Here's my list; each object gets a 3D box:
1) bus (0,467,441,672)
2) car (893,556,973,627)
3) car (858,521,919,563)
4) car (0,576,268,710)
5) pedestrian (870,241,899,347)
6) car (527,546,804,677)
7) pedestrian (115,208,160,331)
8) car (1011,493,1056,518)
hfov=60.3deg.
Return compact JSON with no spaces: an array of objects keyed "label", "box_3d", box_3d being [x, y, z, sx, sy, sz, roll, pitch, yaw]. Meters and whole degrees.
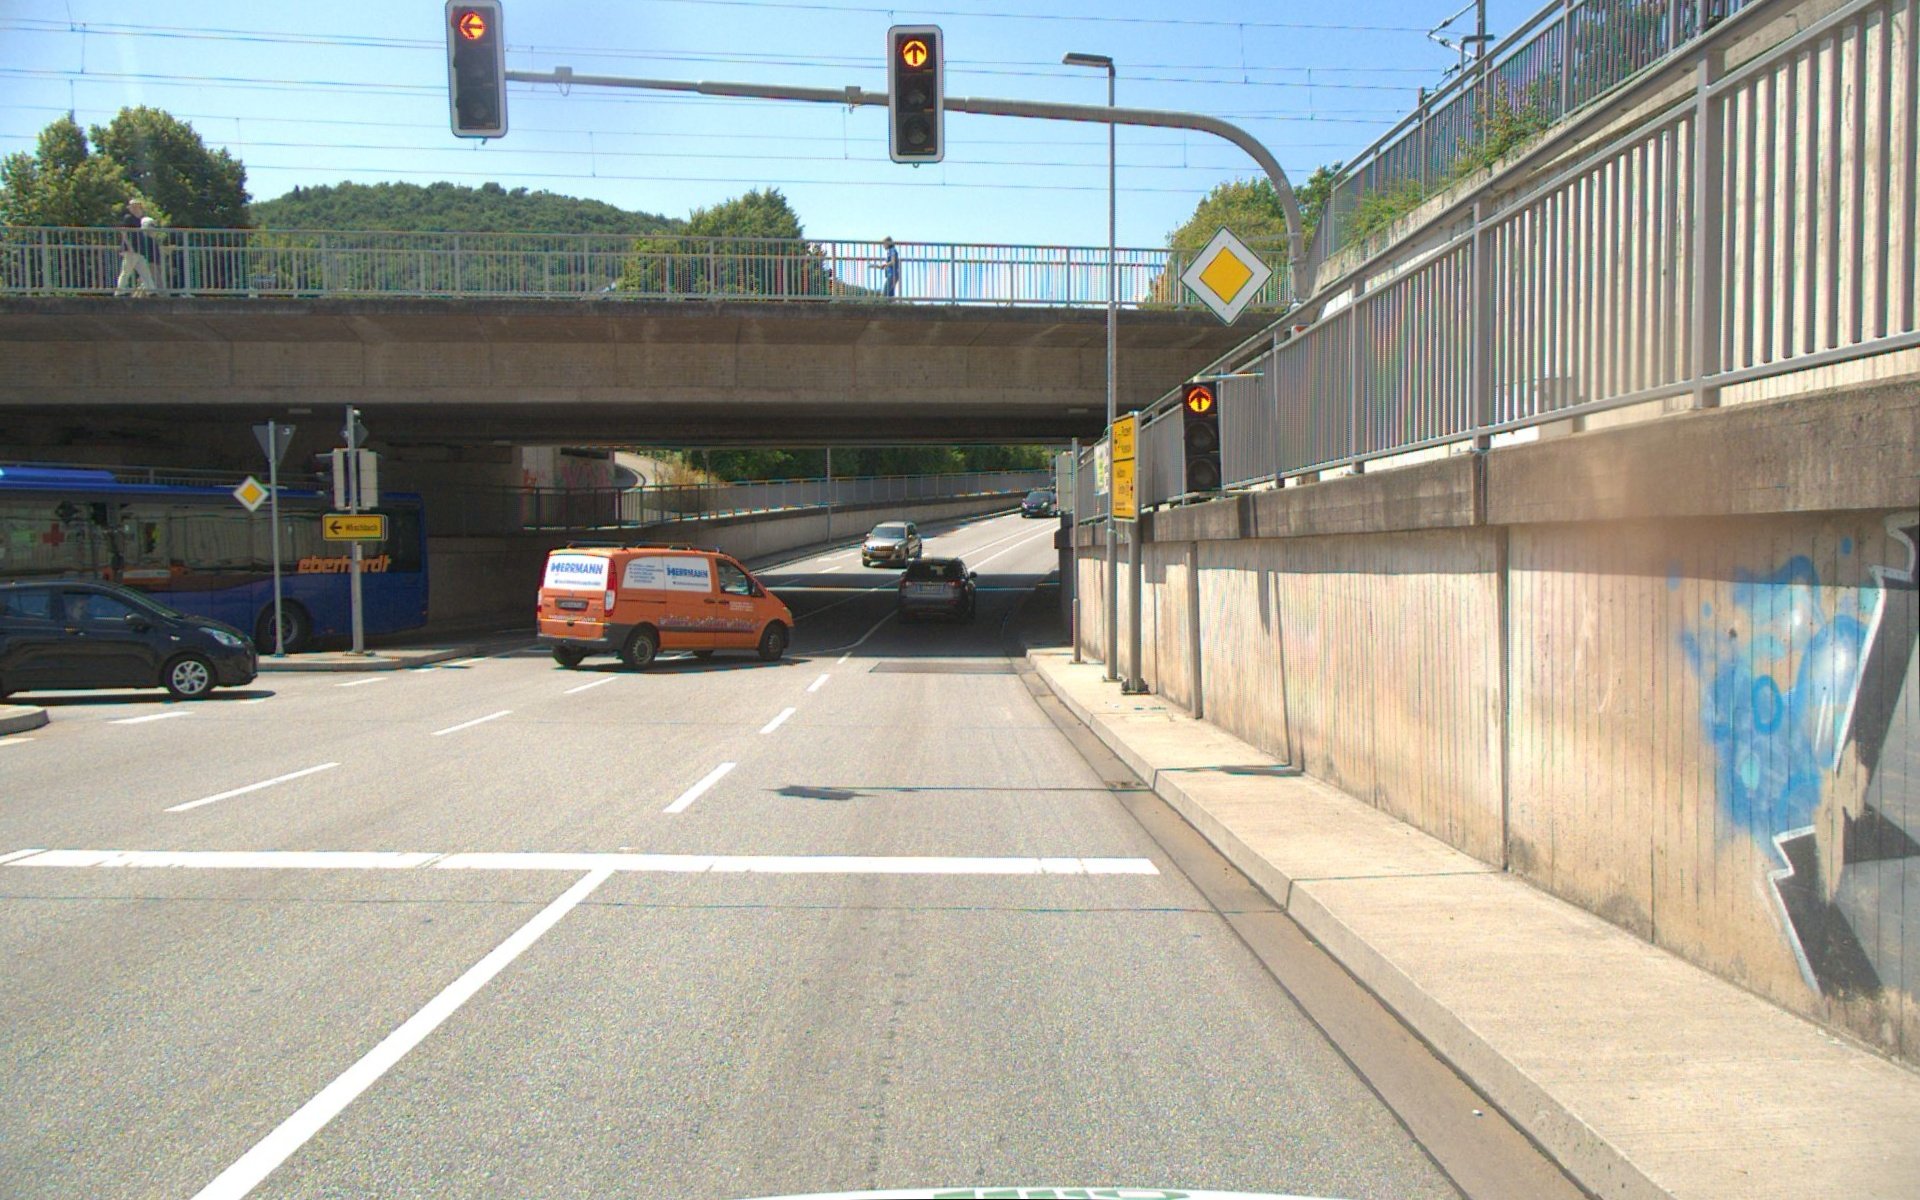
[{"label":"bus","box_3d":[-14.838,-0.591,28.735,2.536,3.227,12.342,2,3,33]},{"label":"car","box_3d":[-0.643,-0.268,42.248,1.766,1.646,4.003,1,2,3]},{"label":"car","box_3d":[-2.854,-2.355,66.823,1.951,1.655,4.004,1,2,5]},{"label":"car","box_3d":[-10.828,0.485,20.749,3.932,1.534,1.987,0,2,-23]},{"label":"pedestrian","box_3d":[-1.584,-6.400,34.597,0.529,2.117,0.534,-1,0,-8]},{"label":"car","box_3d":[-4.864,0.096,27.980,1.841,1.965,4.703,2,3,35]},{"label":"pedestrian","box_3d":[-14.913,-5.987,29.998,0.566,2.117,0.533,-1,0,-11]},{"label":"car","box_3d":[4.406,-5.628,98.568,1.744,1.461,4.003,1,3,17]}]
